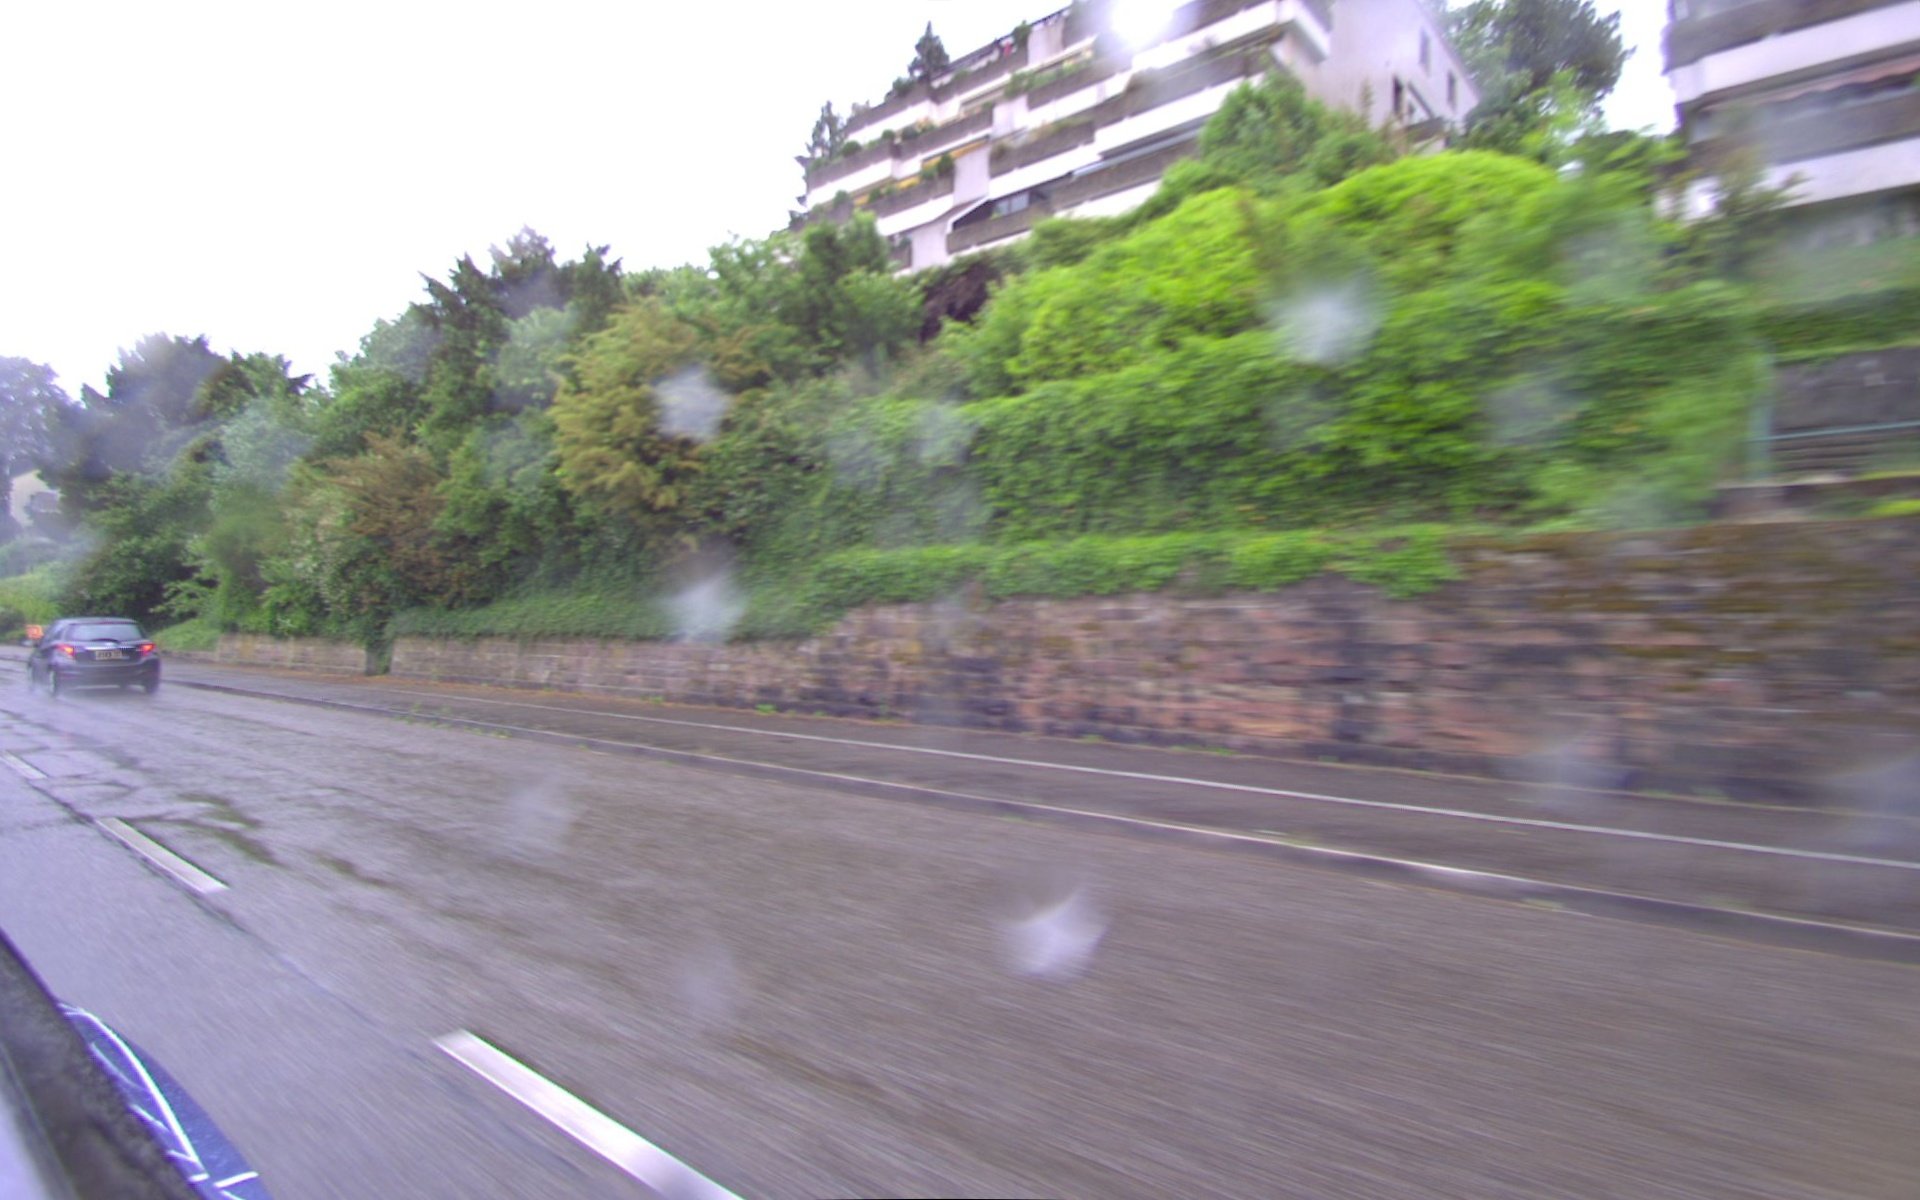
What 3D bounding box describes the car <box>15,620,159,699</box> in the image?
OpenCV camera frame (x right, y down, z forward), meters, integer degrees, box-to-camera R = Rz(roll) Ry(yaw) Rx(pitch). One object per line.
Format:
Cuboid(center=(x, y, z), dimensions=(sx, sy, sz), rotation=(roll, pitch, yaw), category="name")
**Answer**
Cuboid(center=(-17.590, 1.151, 20.345), dimensions=(3.701, 1.453, 1.576), rotation=(-1, -3, 40), category="car")
